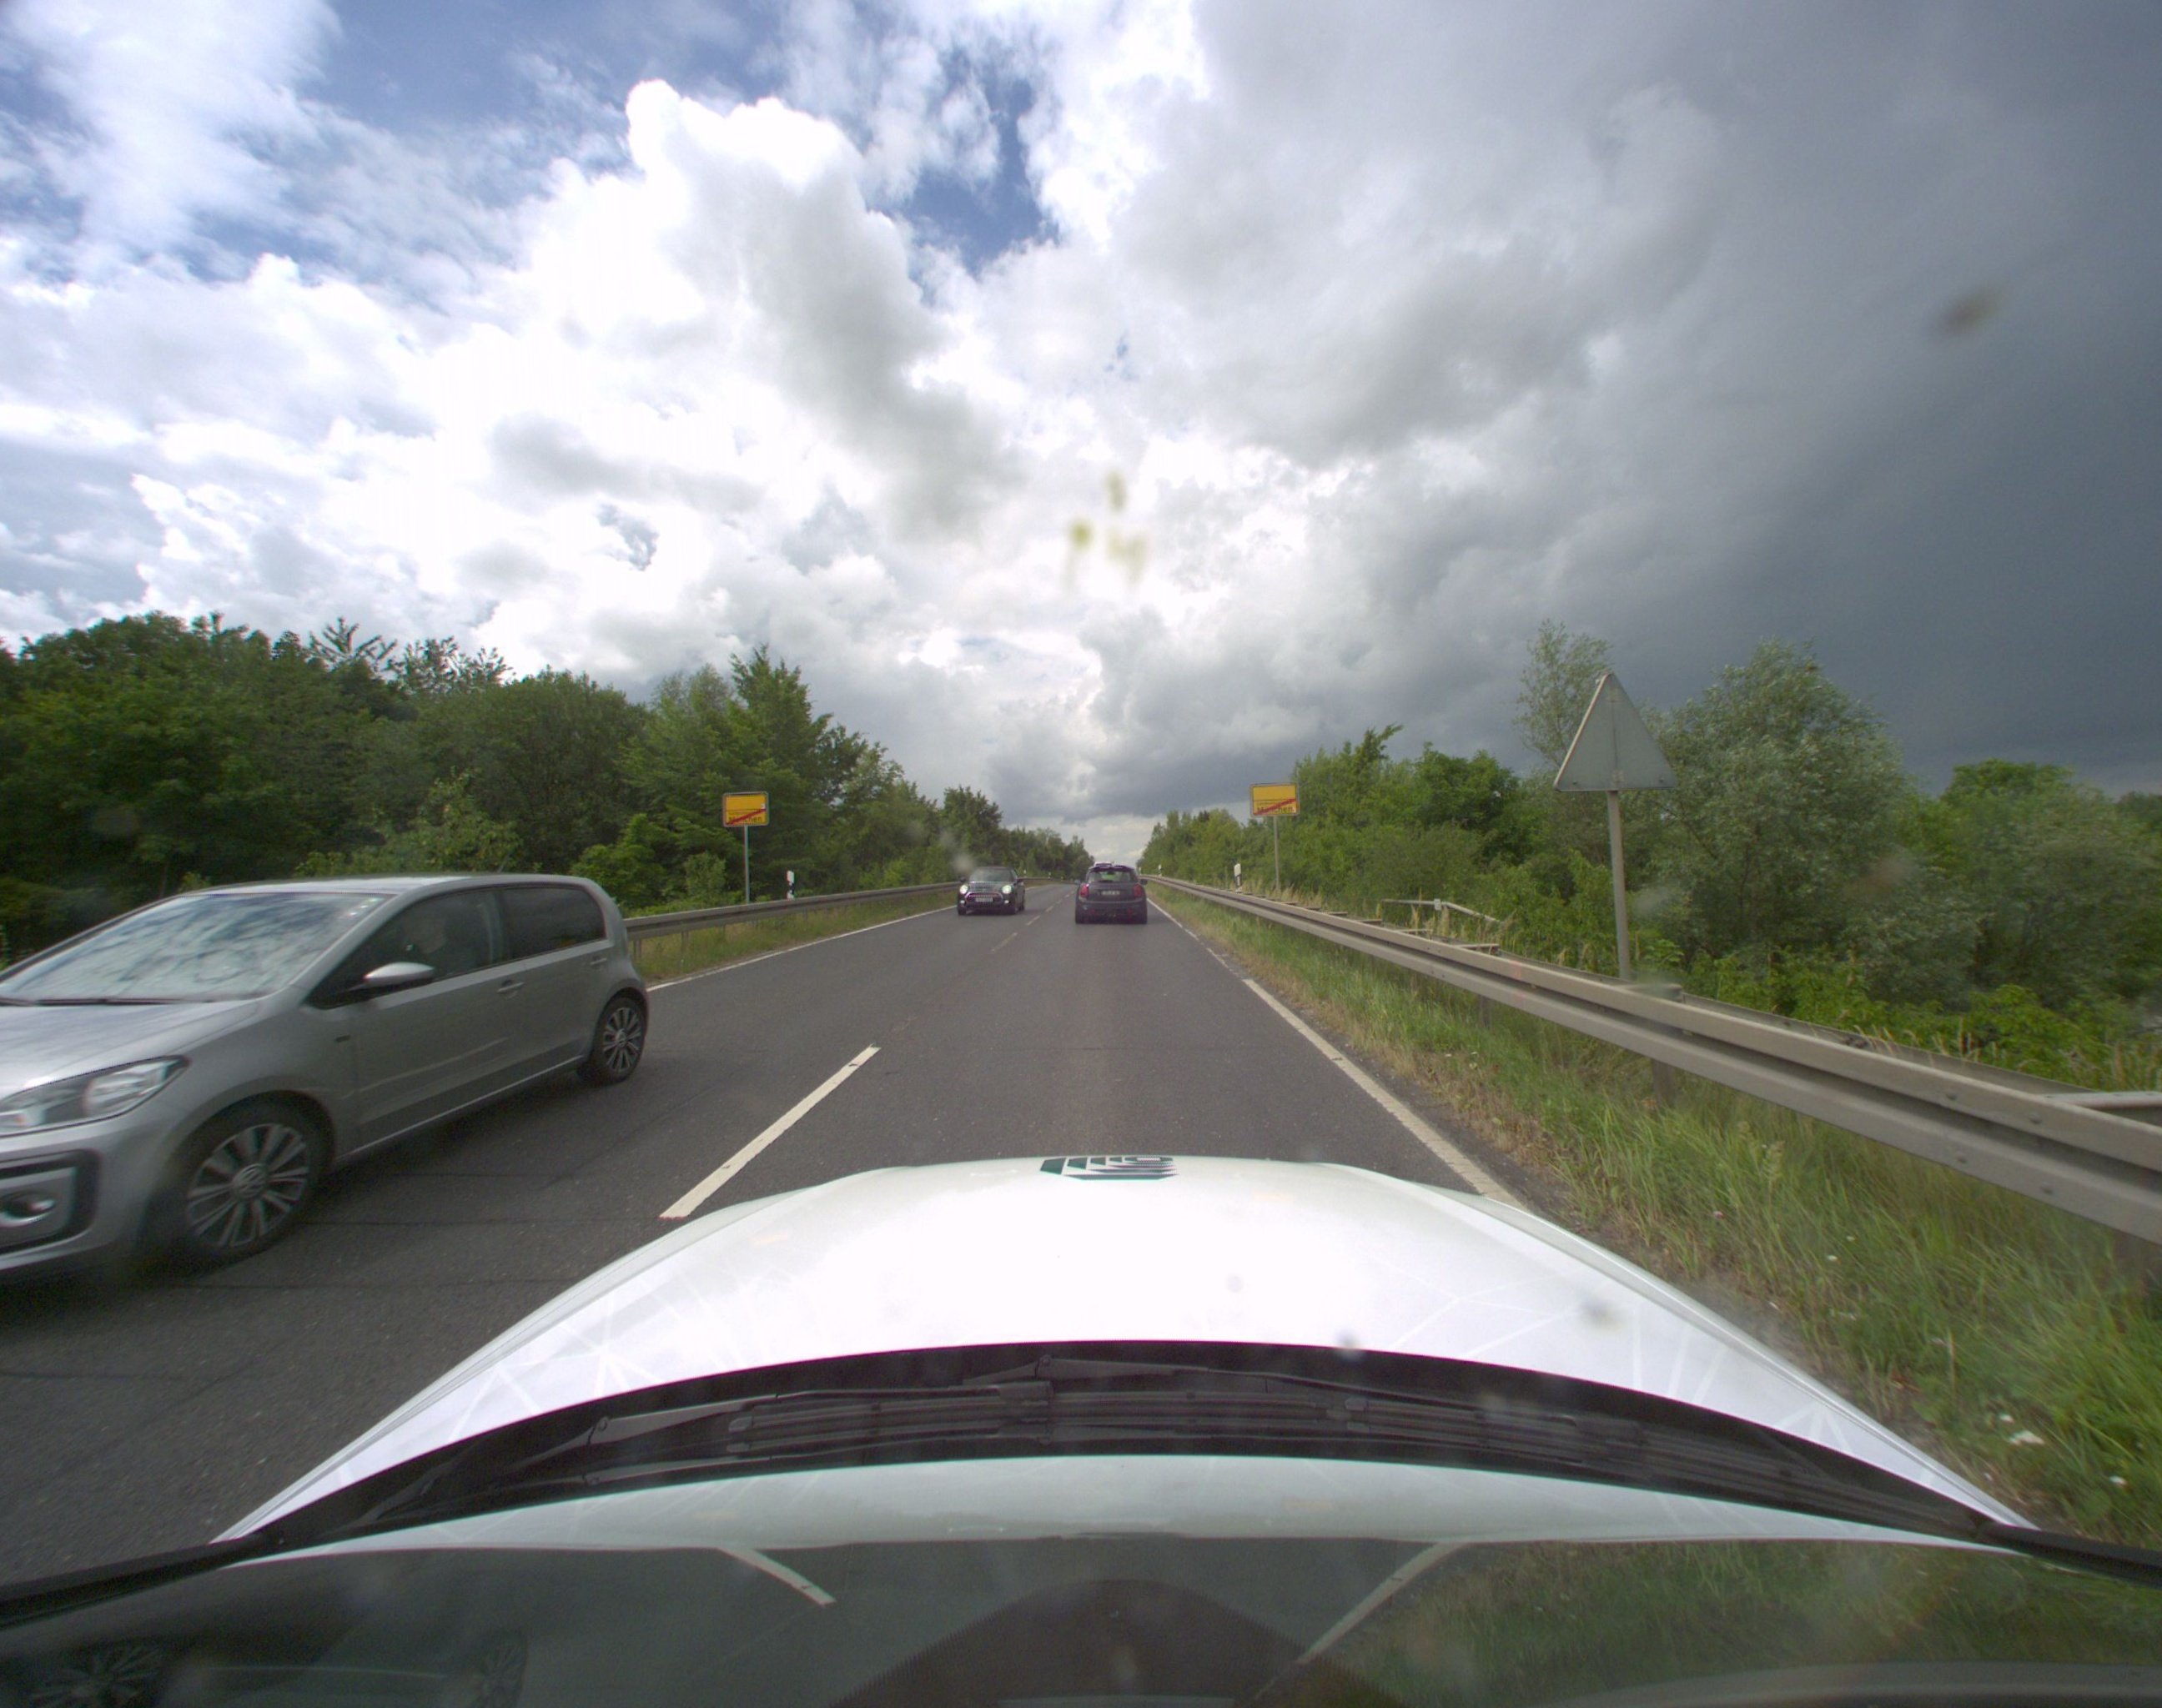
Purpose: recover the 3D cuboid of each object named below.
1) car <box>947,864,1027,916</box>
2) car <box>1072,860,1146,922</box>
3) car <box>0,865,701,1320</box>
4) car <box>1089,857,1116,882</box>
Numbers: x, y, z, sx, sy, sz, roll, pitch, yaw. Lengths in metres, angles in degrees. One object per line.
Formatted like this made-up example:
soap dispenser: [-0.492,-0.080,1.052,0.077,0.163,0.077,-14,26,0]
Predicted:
car: [-2.789,1.055,24.988,1.828,1.420,4.002,-1,-1,2]
car: [0.780,0.890,21.036,1.724,1.456,4.003,0,-1,4]
car: [-4.061,0.808,4.627,1.829,1.445,4.001,-1,-1,1]
car: [1.846,1.314,68.669,2.014,2.013,4.003,-2,-1,3]
